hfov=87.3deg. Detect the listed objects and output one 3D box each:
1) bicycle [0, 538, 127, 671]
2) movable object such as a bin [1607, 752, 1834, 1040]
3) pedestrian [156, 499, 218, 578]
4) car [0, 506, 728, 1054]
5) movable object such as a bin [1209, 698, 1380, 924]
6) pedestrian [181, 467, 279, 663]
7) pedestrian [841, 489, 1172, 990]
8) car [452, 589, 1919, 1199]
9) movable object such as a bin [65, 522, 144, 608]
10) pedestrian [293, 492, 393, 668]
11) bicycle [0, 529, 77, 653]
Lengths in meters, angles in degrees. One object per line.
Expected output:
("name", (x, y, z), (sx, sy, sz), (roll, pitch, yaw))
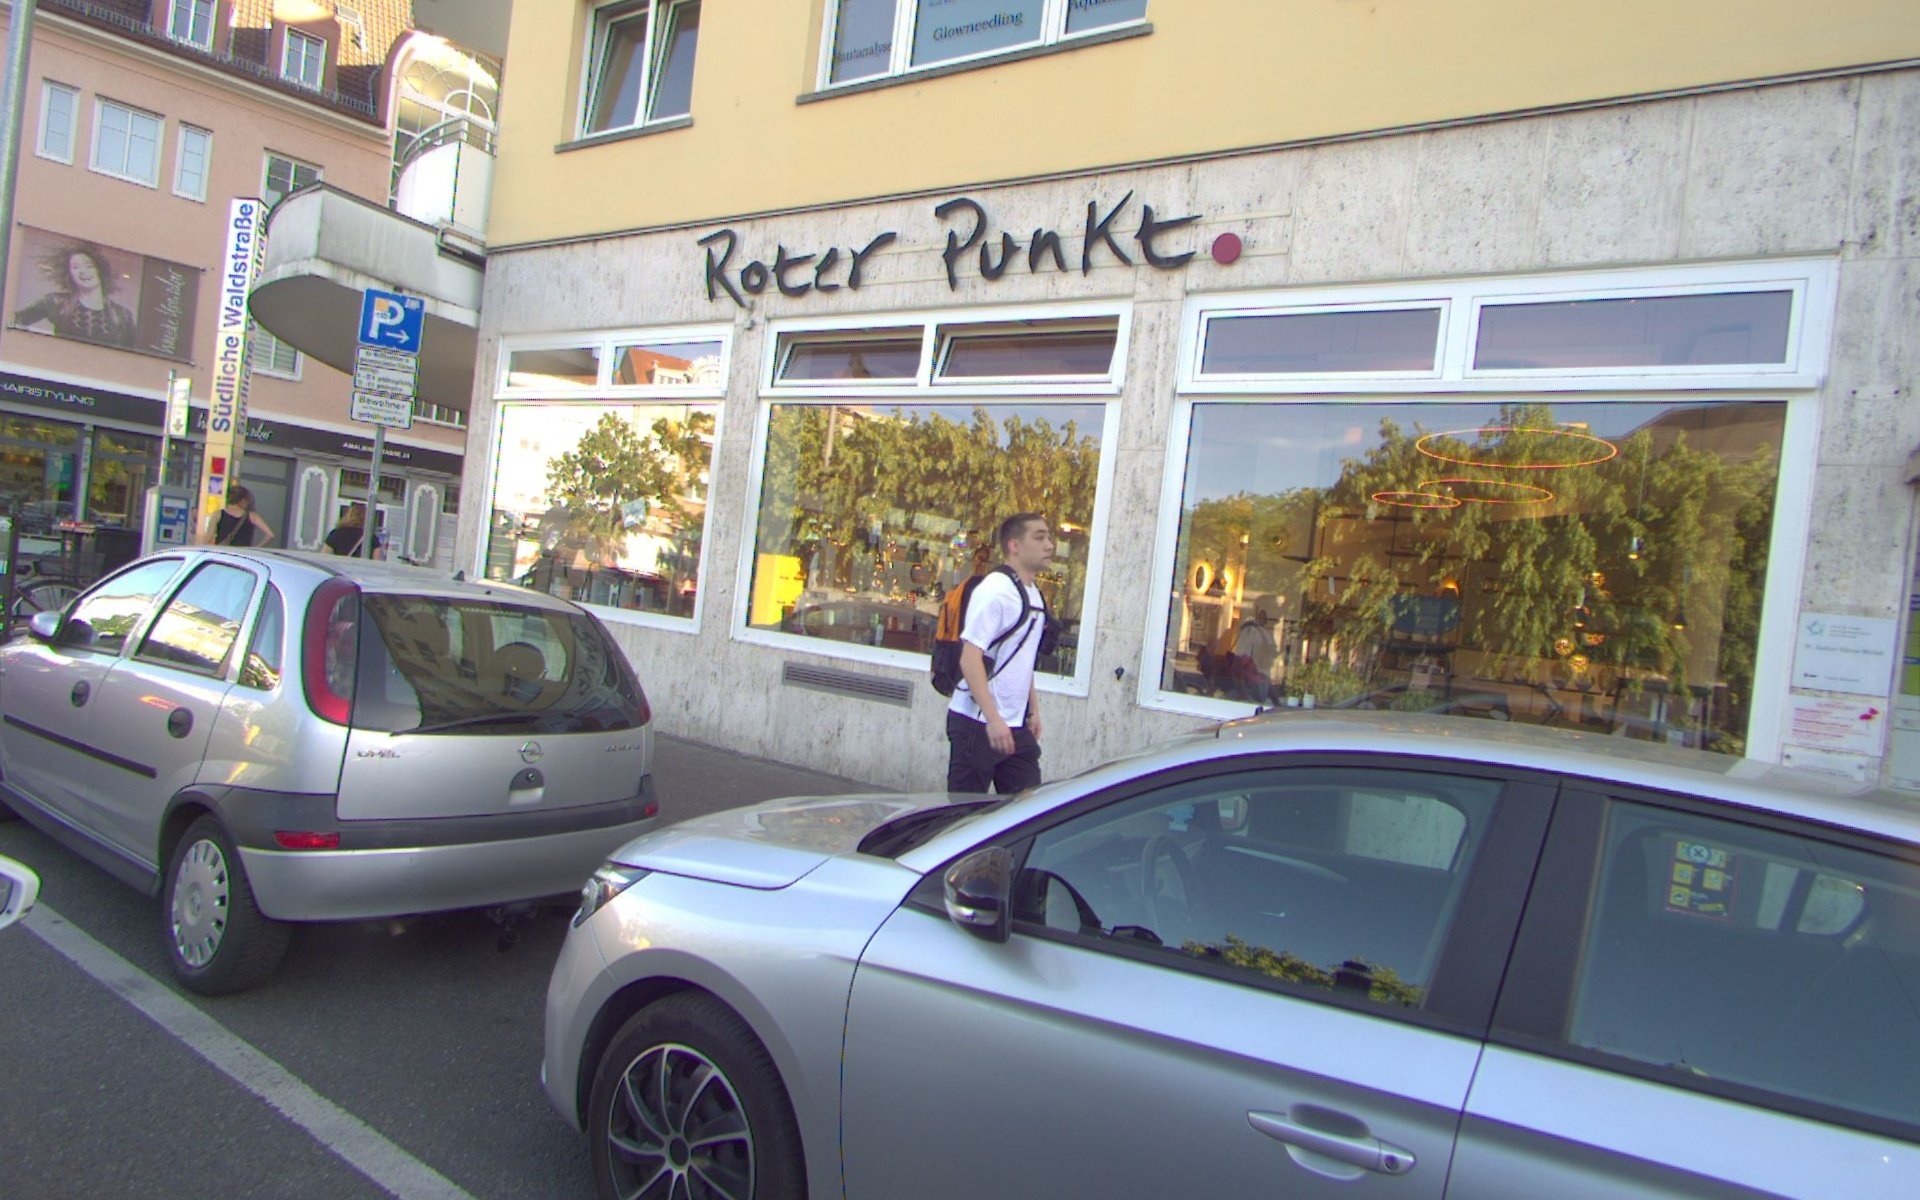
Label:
("bicycle", (-8.159, 0.004, 8.250), (0.642, 1.057, 1.884), (7, 0, 33))
("movable object such as a bin", (3.379, 1.266, 4.542), (0.639, 1.035, 0.738), (6, -1, 31))
("pedestrian", (-16.665, -1.311, 21.701), (0.714, 1.567, 0.788), (8, -1, -22))
("car", (-2.951, 0.485, 4.456), (3.520, 1.443, 1.587), (6, -2, 32))
("movable object such as a bin", (1.831, 1.098, 5.472), (0.639, 1.035, 0.738), (6, -1, 31))
("pedestrian", (-7.429, -0.352, 10.271), (0.675, 1.874, 0.886), (3, 3, -33))
("pedestrian", (0.207, 0.516, 4.328), (0.967, 1.846, 0.809), (6, 1, 35))
("car", (0.785, 0.944, 2.276), (3.624, 1.453, 1.587), (6, -2, 30))
("movable object such as a bin", (-11.962, -0.489, 14.071), (0.716, 1.117, 0.636), (7, 2, 35))
("pedestrian", (-6.612, -0.211, 10.770), (0.717, 1.777, 0.779), (4, 2, -40))
("bicycle", (-9.050, -0.150, 8.794), (0.642, 1.072, 1.816), (7, -1, 33))
